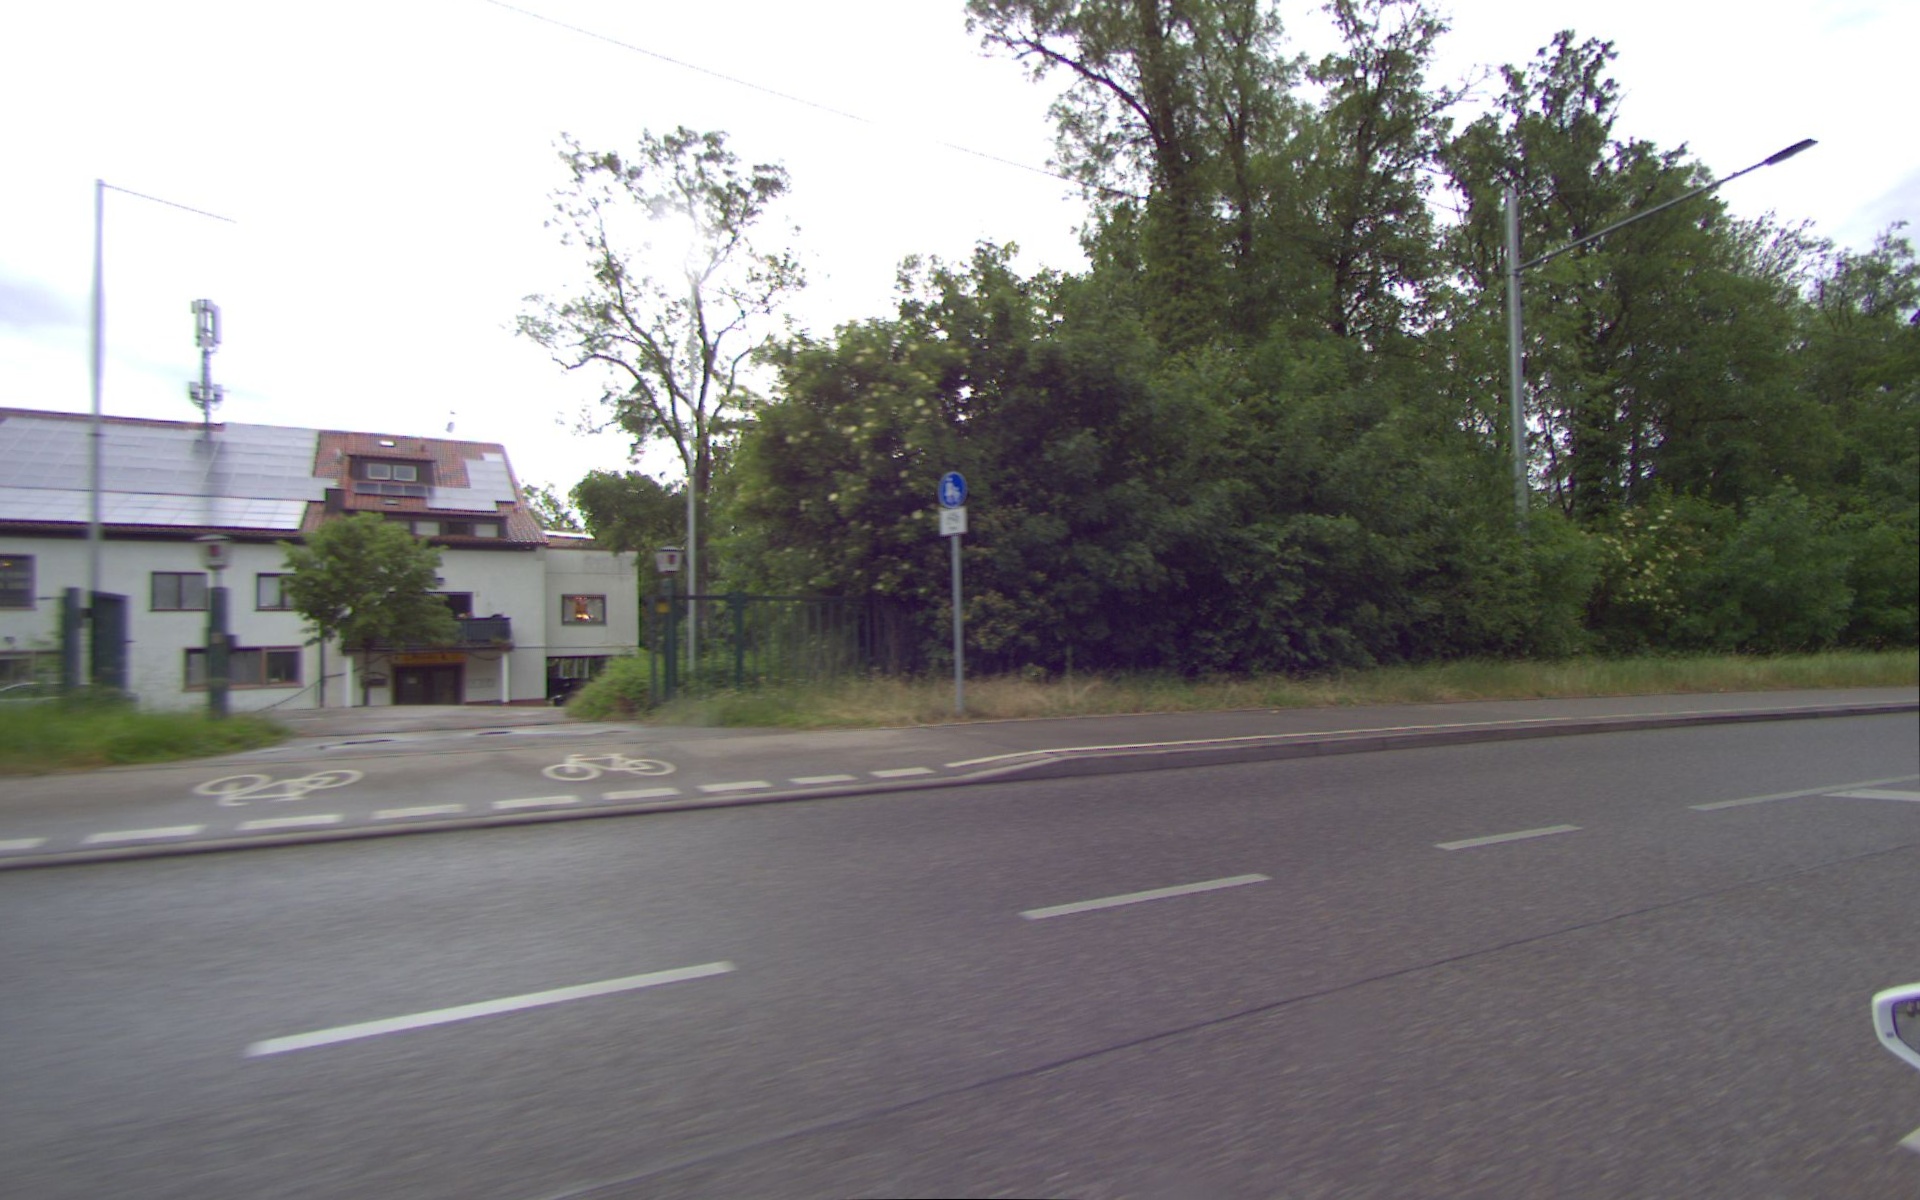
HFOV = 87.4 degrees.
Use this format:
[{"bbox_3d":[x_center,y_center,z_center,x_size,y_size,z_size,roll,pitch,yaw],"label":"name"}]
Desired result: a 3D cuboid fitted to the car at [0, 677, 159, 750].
[{"bbox_3d":[-25.718,3.217,28.805,3.951,1.774,1.985,1,0,-29],"label":"car"}]
